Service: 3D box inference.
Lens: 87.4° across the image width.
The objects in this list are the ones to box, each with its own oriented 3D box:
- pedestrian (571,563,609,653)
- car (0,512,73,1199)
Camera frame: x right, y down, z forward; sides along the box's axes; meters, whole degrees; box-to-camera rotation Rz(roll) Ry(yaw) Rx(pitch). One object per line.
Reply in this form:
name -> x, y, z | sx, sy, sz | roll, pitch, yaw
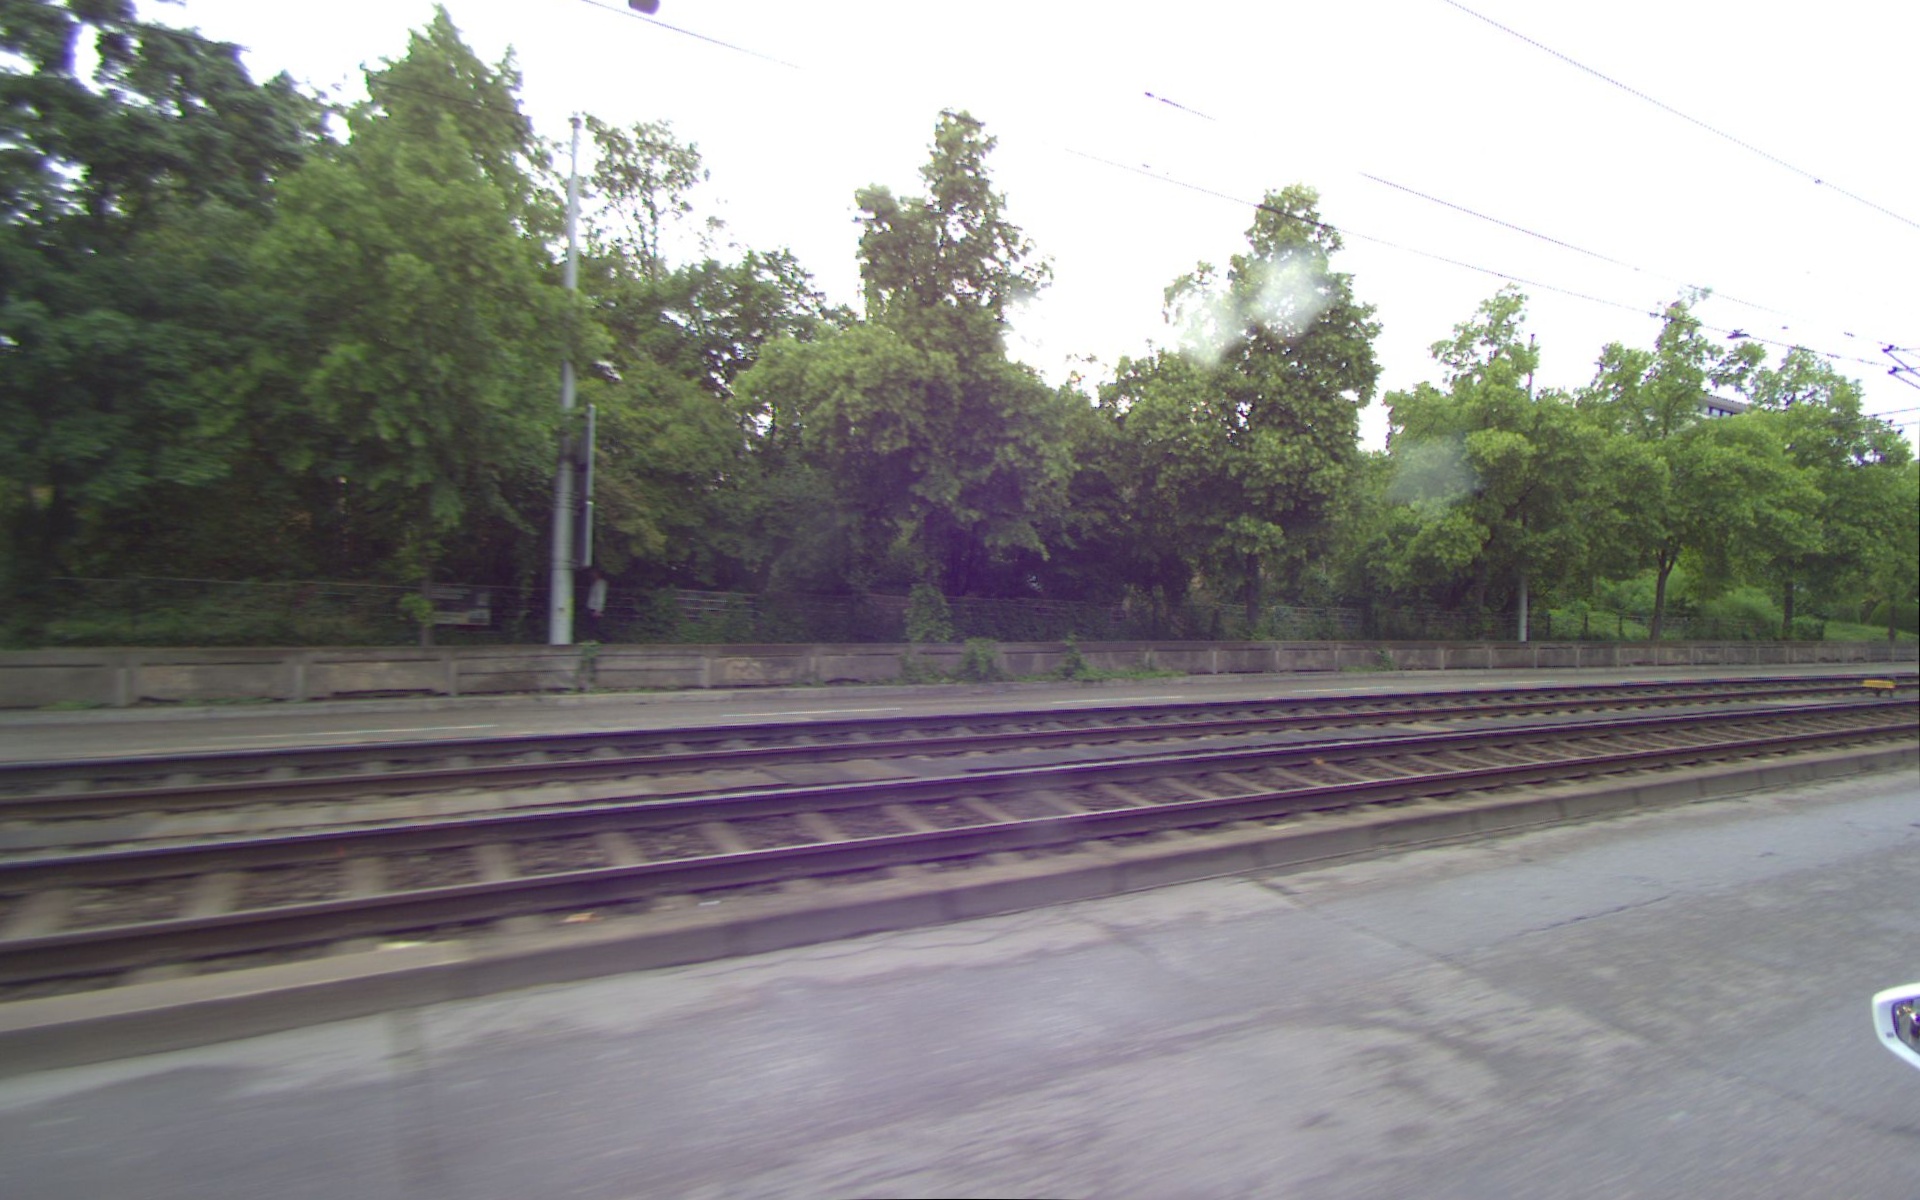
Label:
pedestrian -> -8.102, 0.172, 21.987 | 0.646, 1.928, 0.592 | 1, 1, -30
car -> -3.157, 0.583, 0.565 | 3.677, 1.551, 1.668 | 1, -1, -30
